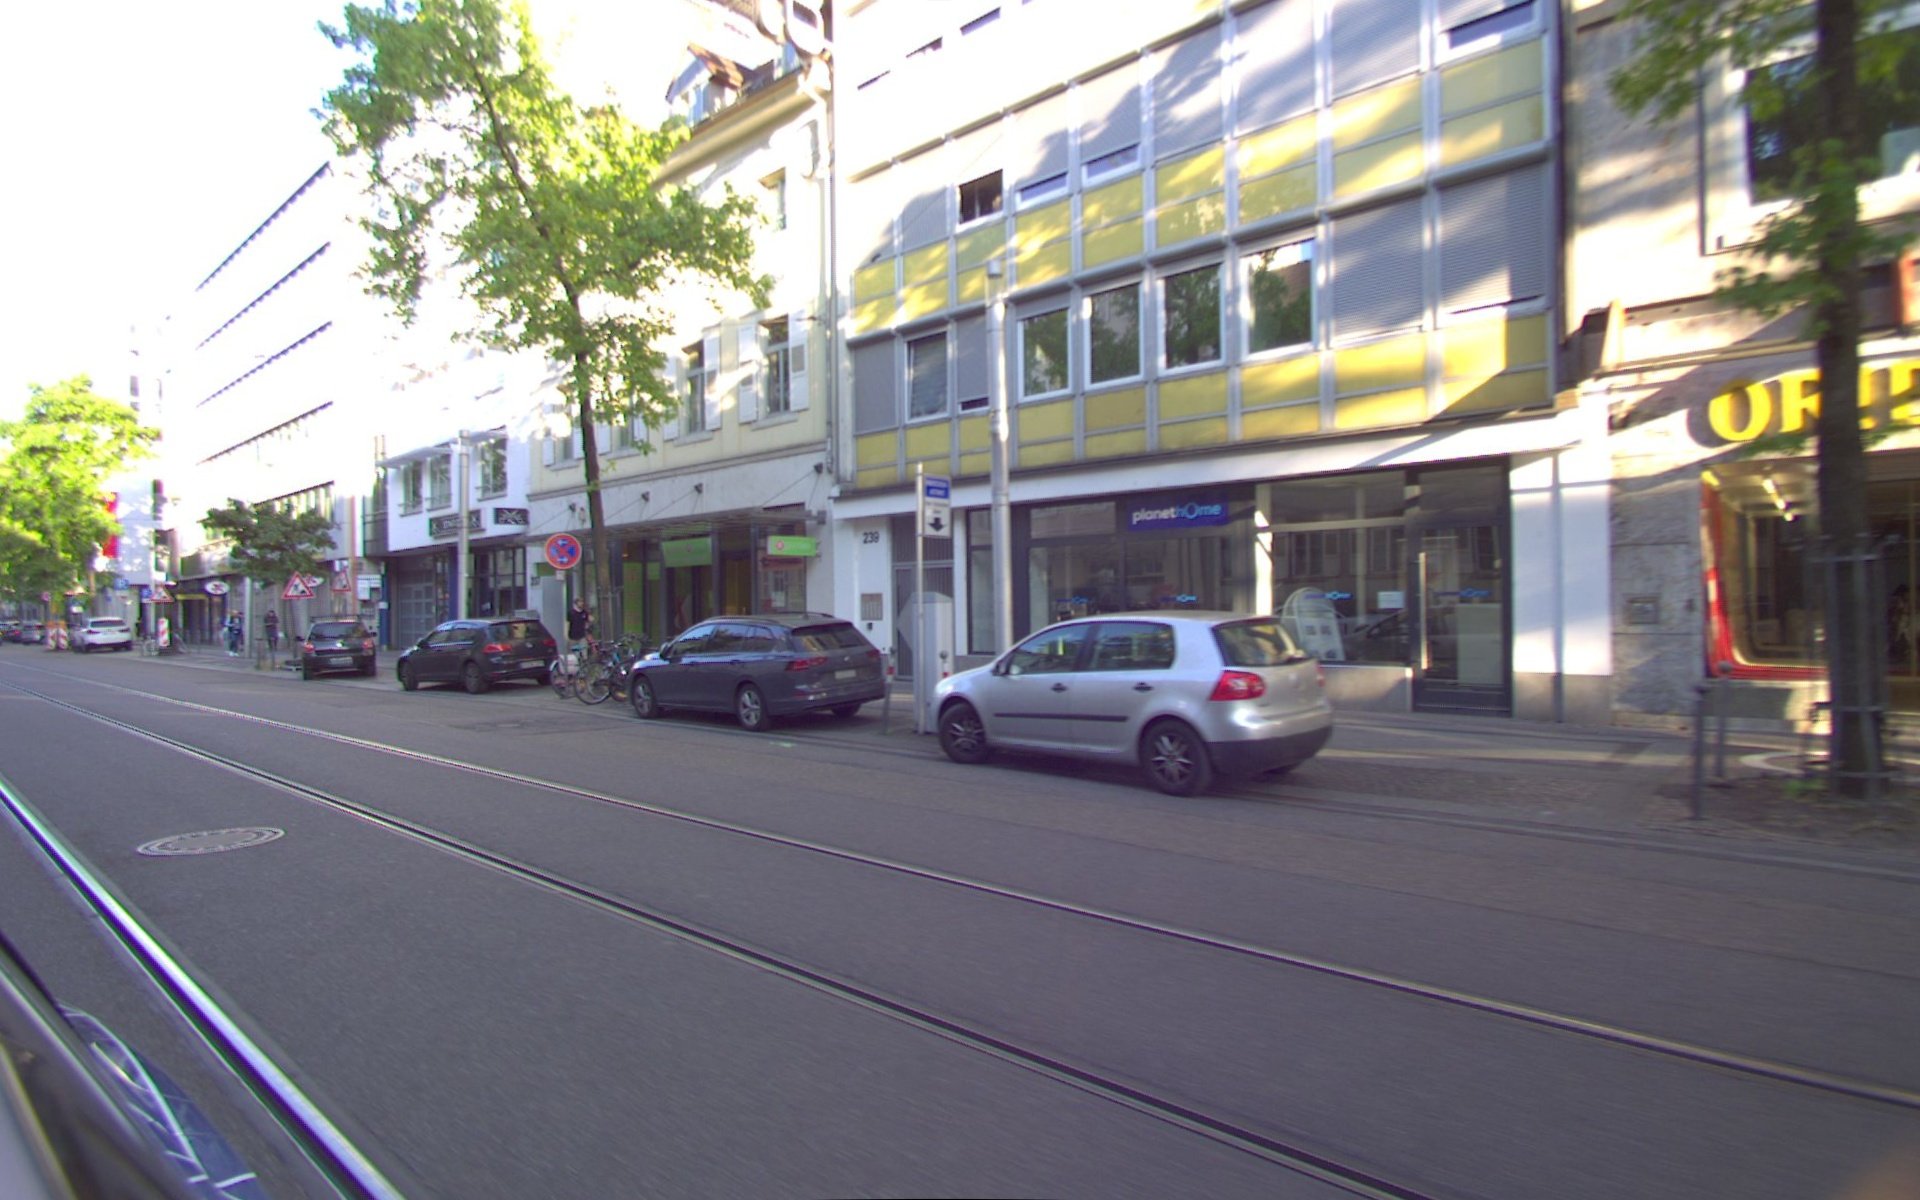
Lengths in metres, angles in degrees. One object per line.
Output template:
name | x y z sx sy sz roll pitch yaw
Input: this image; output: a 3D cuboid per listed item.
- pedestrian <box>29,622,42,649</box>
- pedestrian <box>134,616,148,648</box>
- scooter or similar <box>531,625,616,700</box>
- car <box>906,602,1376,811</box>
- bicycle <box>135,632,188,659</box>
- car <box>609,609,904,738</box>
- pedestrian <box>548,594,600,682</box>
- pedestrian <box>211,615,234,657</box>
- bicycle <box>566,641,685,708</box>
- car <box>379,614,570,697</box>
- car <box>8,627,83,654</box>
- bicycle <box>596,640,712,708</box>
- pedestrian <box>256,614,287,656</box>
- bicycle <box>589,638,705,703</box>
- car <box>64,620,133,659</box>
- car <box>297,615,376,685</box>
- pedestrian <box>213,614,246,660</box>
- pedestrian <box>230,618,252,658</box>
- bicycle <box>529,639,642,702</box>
pedestrian | -67.232 2.597 73.607 0.723 1.948 0.647 -2 -2 44
pedestrian | -51.894 2.030 64.107 0.592 2.029 0.608 -2 -2 40
scooter or similar | -7.214 1.142 18.924 1.403 1.280 0.375 -3 1 -44
car | 1.475 0.802 9.546 1.745 1.508 4.181 -1 0 -41
bicycle | -34.653 1.965 43.945 1.724 0.999 0.479 -5 1 -41
car | -2.981 0.927 14.179 4.485 1.472 1.693 -2 1 42
pedestrian | -8.430 0.815 22.108 0.878 1.839 0.653 -2 1 42
pedestrian | -31.323 1.527 42.978 0.634 1.725 0.830 -2 0 -44
bicycle | -5.563 1.220 16.937 0.331 1.009 1.948 -2 -1 44
car | -10.170 1.107 21.096 4.234 1.501 1.776 -1 1 36
car | -63.439 2.793 70.253 1.774 1.572 3.382 -1 2 17
bicycle | -5.079 1.210 16.901 0.330 1.009 1.949 -2 -1 44
pedestrian | -29.238 1.467 42.978 1.037 1.708 0.823 -2 1 42
bicycle | -5.452 1.211 17.728 1.948 1.009 0.420 0 -1 -44
car | -43.376 1.954 50.933 4.742 1.767 1.973 -2 1 41
car | -16.430 1.261 26.591 1.608 1.628 3.718 -3 0 -33
pedestrian | -28.531 1.441 39.527 0.831 1.780 0.842 -2 -1 39
pedestrian | -31.430 1.654 44.219 0.620 1.725 0.808 -2 0 -44
bicycle | -6.700 1.238 18.207 0.331 1.009 1.948 -2 -1 44
